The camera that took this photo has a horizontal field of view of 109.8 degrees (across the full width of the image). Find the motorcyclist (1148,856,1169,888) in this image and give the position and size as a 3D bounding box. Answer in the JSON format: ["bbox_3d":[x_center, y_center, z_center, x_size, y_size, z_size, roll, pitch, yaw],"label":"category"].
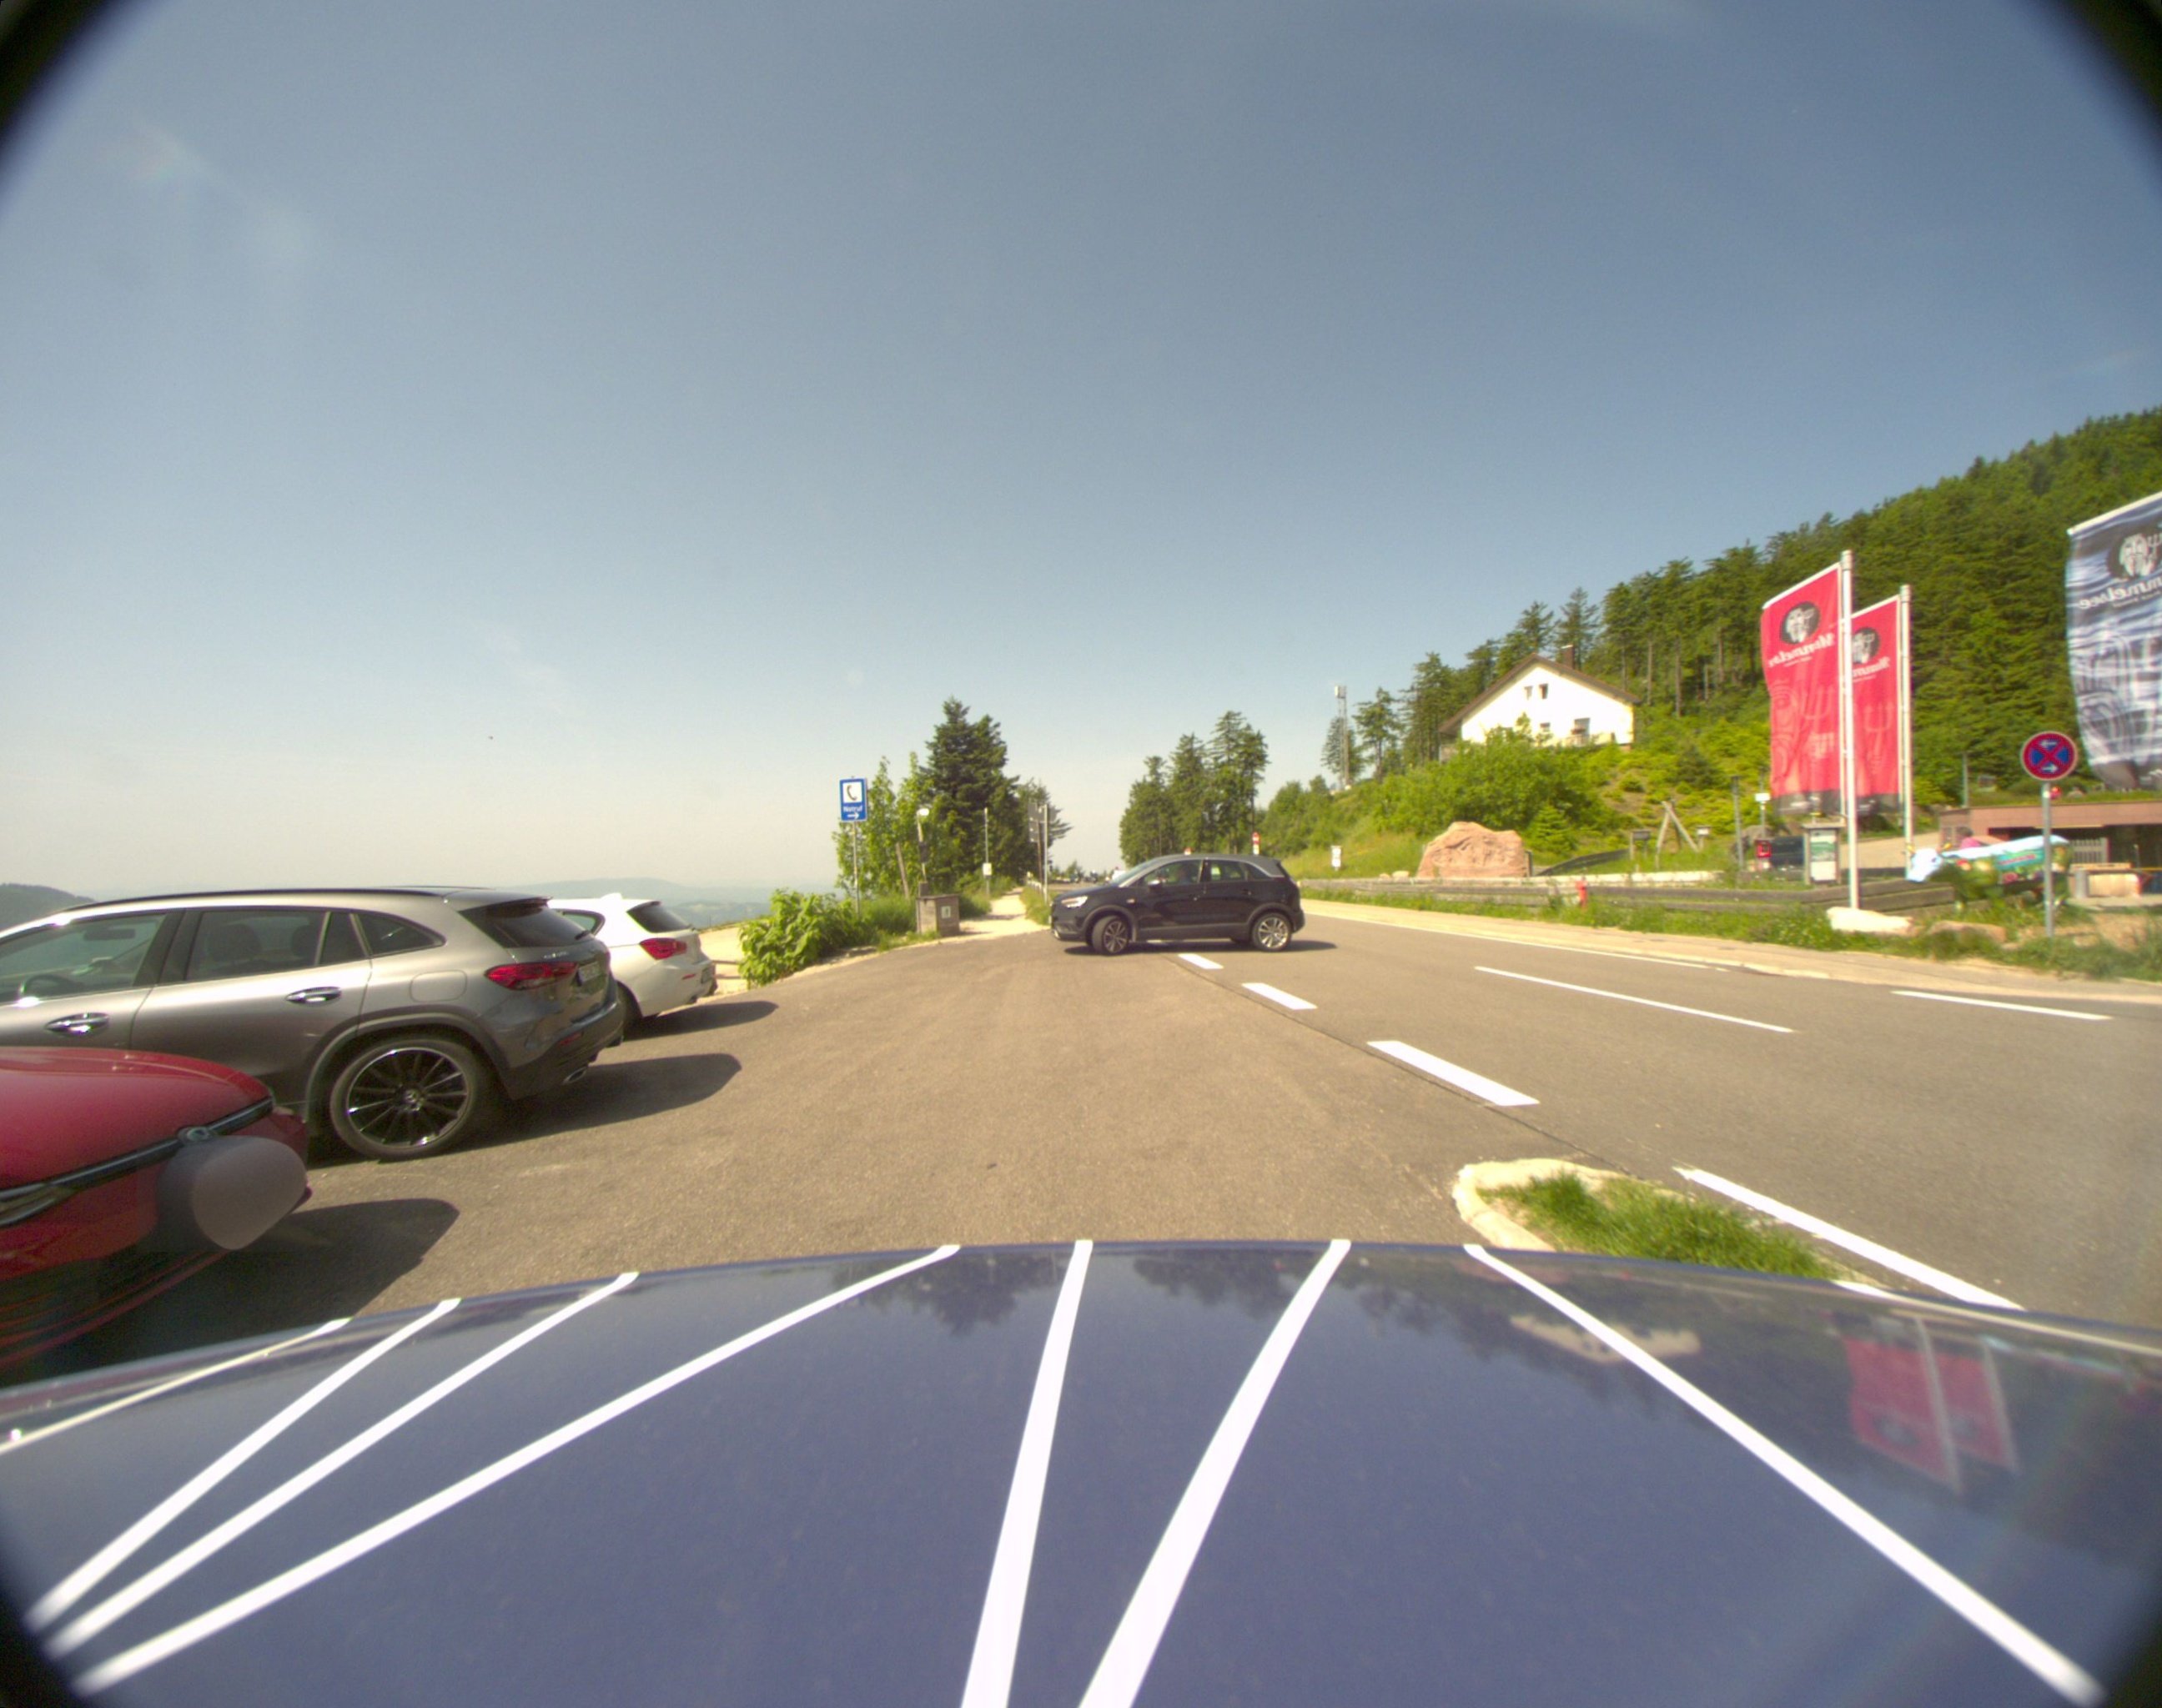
[{"bbox_3d":[4.107,0.935,40.218,0.881,1.632,1.299,0,0,-5],"label":"motorcyclist"}]

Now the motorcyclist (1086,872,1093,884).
[{"bbox_3d":[1.065,2.930,92.465,0.841,1.433,1.005,1,2,-1],"label":"motorcyclist"}]

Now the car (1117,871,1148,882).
[{"bbox_3d":[6.976,3.018,102.839,3.930,1.365,1.931,2,-1,-5],"label":"car"}]

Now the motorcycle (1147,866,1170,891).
[{"bbox_3d":[4.091,1.304,40.356,0.813,1.258,2.326,0,0,-5],"label":"motorcycle"}]

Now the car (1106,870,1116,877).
[{"bbox_3d":[6.812,4.527,173.985,1.997,1.586,4.003,0,-1,7],"label":"car"}]

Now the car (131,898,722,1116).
[{"bbox_3d":[-5.911,1.309,7.486,4.002,1.377,1.655,-4,1,-17],"label":"car"}]

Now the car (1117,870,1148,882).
[{"bbox_3d":[7.521,3.213,110.456,4.244,1.516,1.931,2,-1,-5],"label":"car"}]

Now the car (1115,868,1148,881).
[{"bbox_3d":[7.599,3.047,114.170,4.731,1.870,1.931,2,-1,-5],"label":"car"}]

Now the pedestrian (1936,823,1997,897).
[{"bbox_3d":[21.027,0.134,18.063,0.697,1.706,0.800,-1,0,29],"label":"pedestrian"}]

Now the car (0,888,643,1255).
[{"bbox_3d":[-5.414,1.162,4.587,4.414,1.559,1.905,-4,0,-18],"label":"car"}]

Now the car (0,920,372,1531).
[{"bbox_3d":[-4.978,1.149,2.052,4.002,1.501,1.840,-3,0,-17],"label":"car"}]

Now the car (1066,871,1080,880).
[{"bbox_3d":[-1.296,3.584,126.974,1.998,1.586,4.001,0,-1,3],"label":"car"}]

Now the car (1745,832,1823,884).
[{"bbox_3d":[24.274,0.091,26.298,1.874,1.347,4.006,0,5,42],"label":"car"}]

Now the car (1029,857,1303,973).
[{"bbox_3d":[1.287,0.915,12.624,4.149,1.607,1.985,-2,1,-8],"label":"car"}]

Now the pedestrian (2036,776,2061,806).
[{"bbox_3d":[52.540,-3.425,41.267,0.572,1.533,0.633,-8,0,41],"label":"pedestrian"}]
